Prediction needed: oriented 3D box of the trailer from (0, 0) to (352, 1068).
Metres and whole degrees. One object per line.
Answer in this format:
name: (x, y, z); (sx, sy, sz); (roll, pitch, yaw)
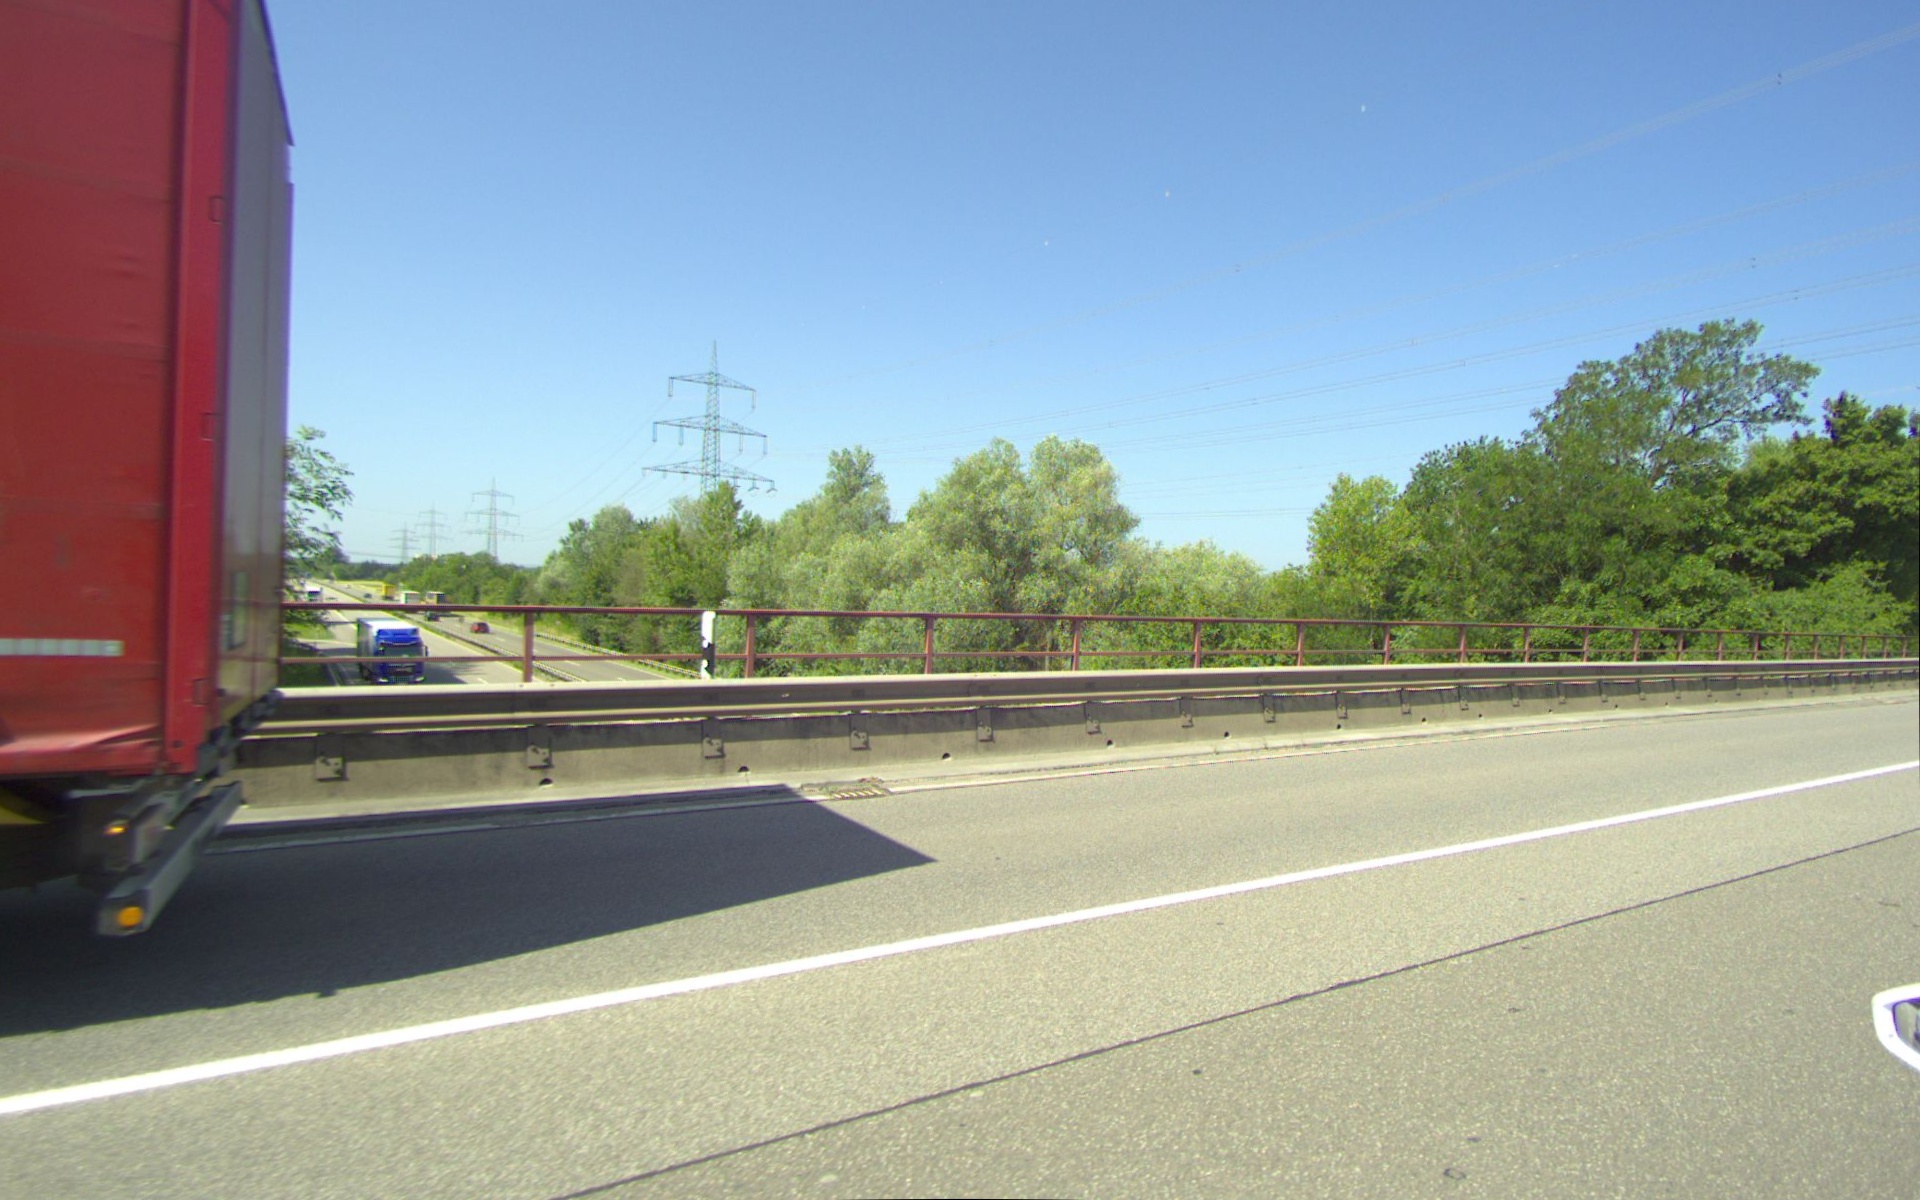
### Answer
trailer: (-8.973, -0.709, 1.141); (14.032, 4.116, 2.755); (1, -1, -30)

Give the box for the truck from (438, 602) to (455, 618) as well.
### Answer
truck: (-91.280, 1.758, 178.554); (1.980, 2.810, 5.451); (0, 1, -36)

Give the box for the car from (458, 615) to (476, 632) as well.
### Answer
car: (-55.840, 2.680, 113.775); (1.728, 1.784, 3.870); (-1, 1, -27)
